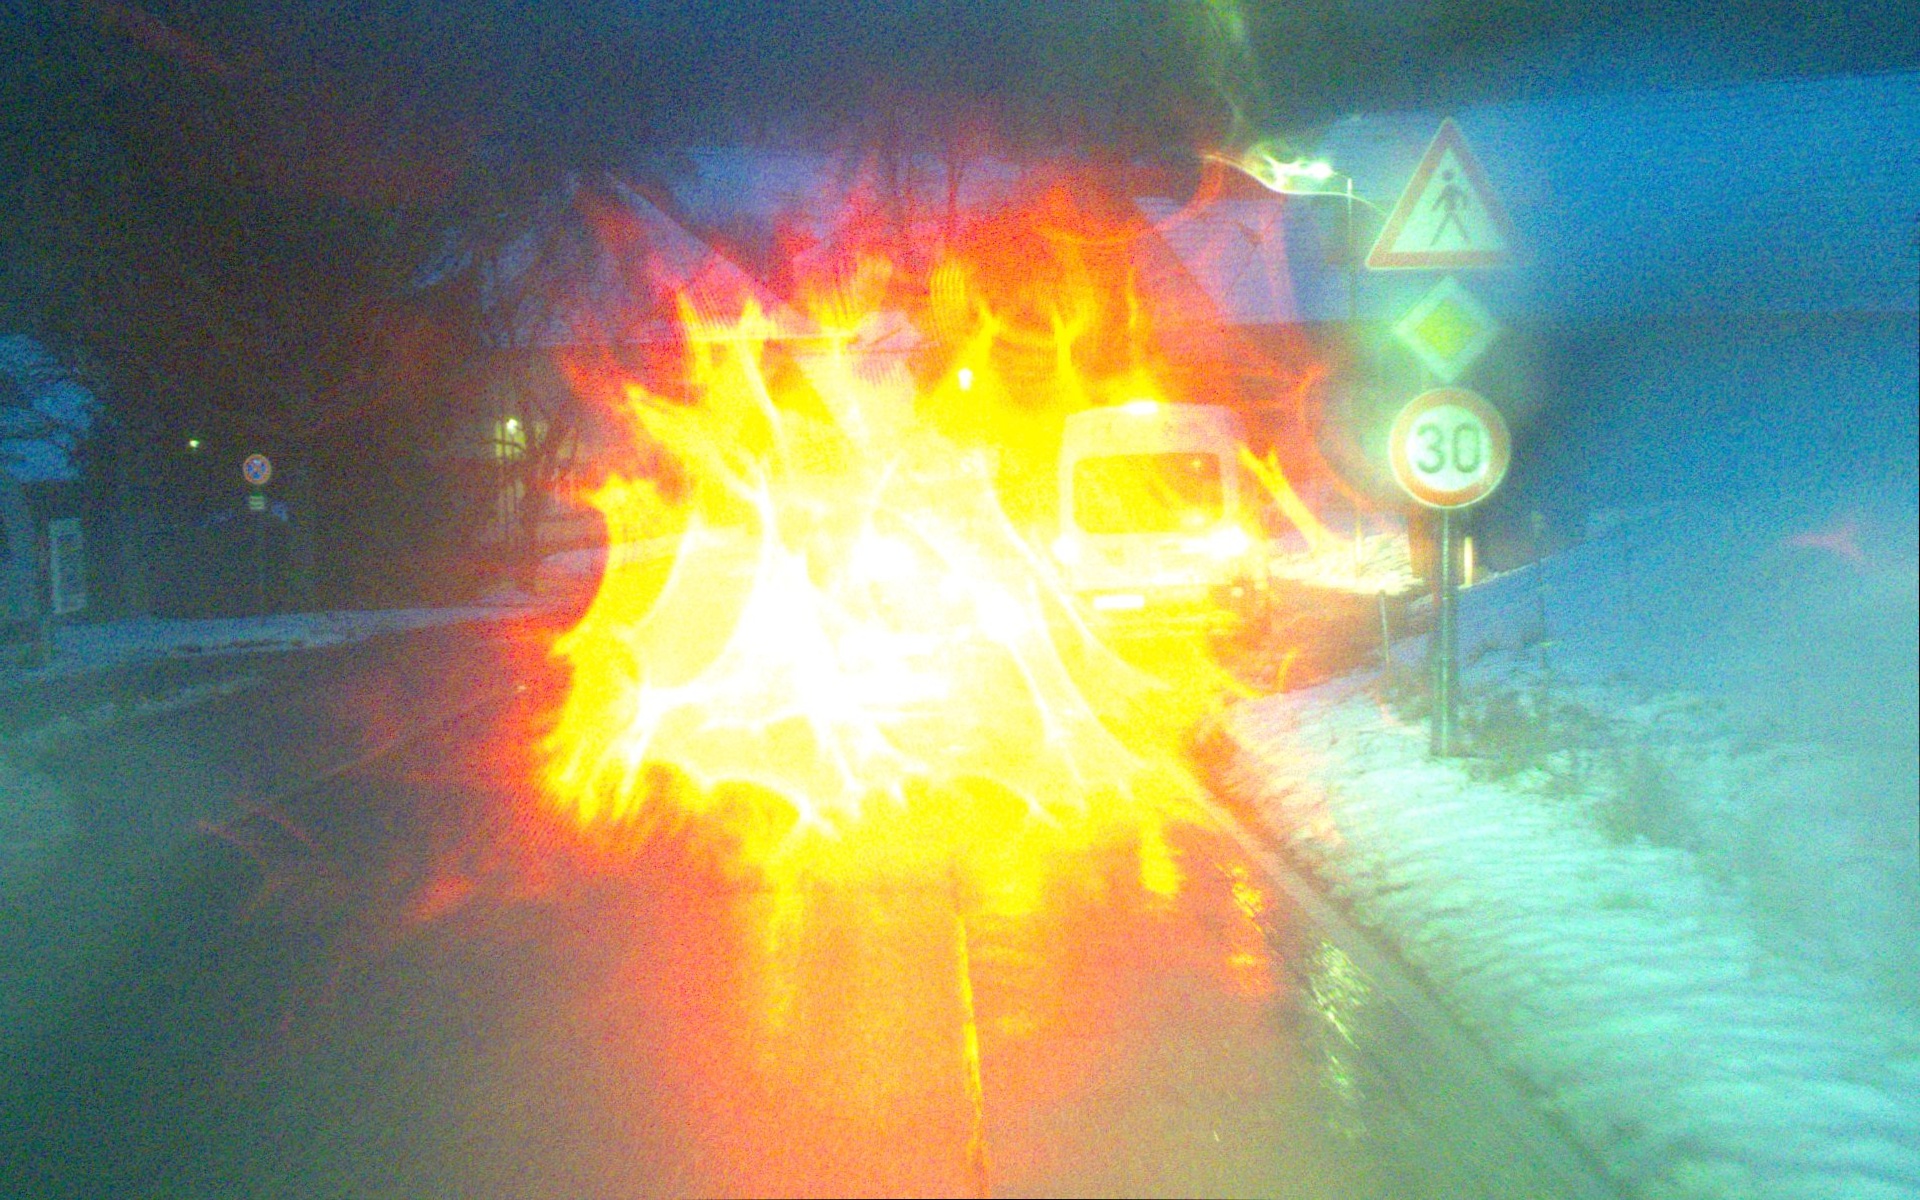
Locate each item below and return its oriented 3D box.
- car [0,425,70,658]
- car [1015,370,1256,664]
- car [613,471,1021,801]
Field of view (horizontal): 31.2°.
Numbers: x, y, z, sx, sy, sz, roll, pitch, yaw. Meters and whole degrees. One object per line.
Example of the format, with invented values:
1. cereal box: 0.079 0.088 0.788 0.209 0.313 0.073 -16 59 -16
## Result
1. car: -11.811 -0.639 37.981 2.469 2.562 6.229 0 1 -2
2. car: 1.954 -0.875 38.445 2.435 3.008 5.324 -1 0 3
3. car: -0.871 0.164 21.685 2.274 1.834 5.007 0 1 -2
